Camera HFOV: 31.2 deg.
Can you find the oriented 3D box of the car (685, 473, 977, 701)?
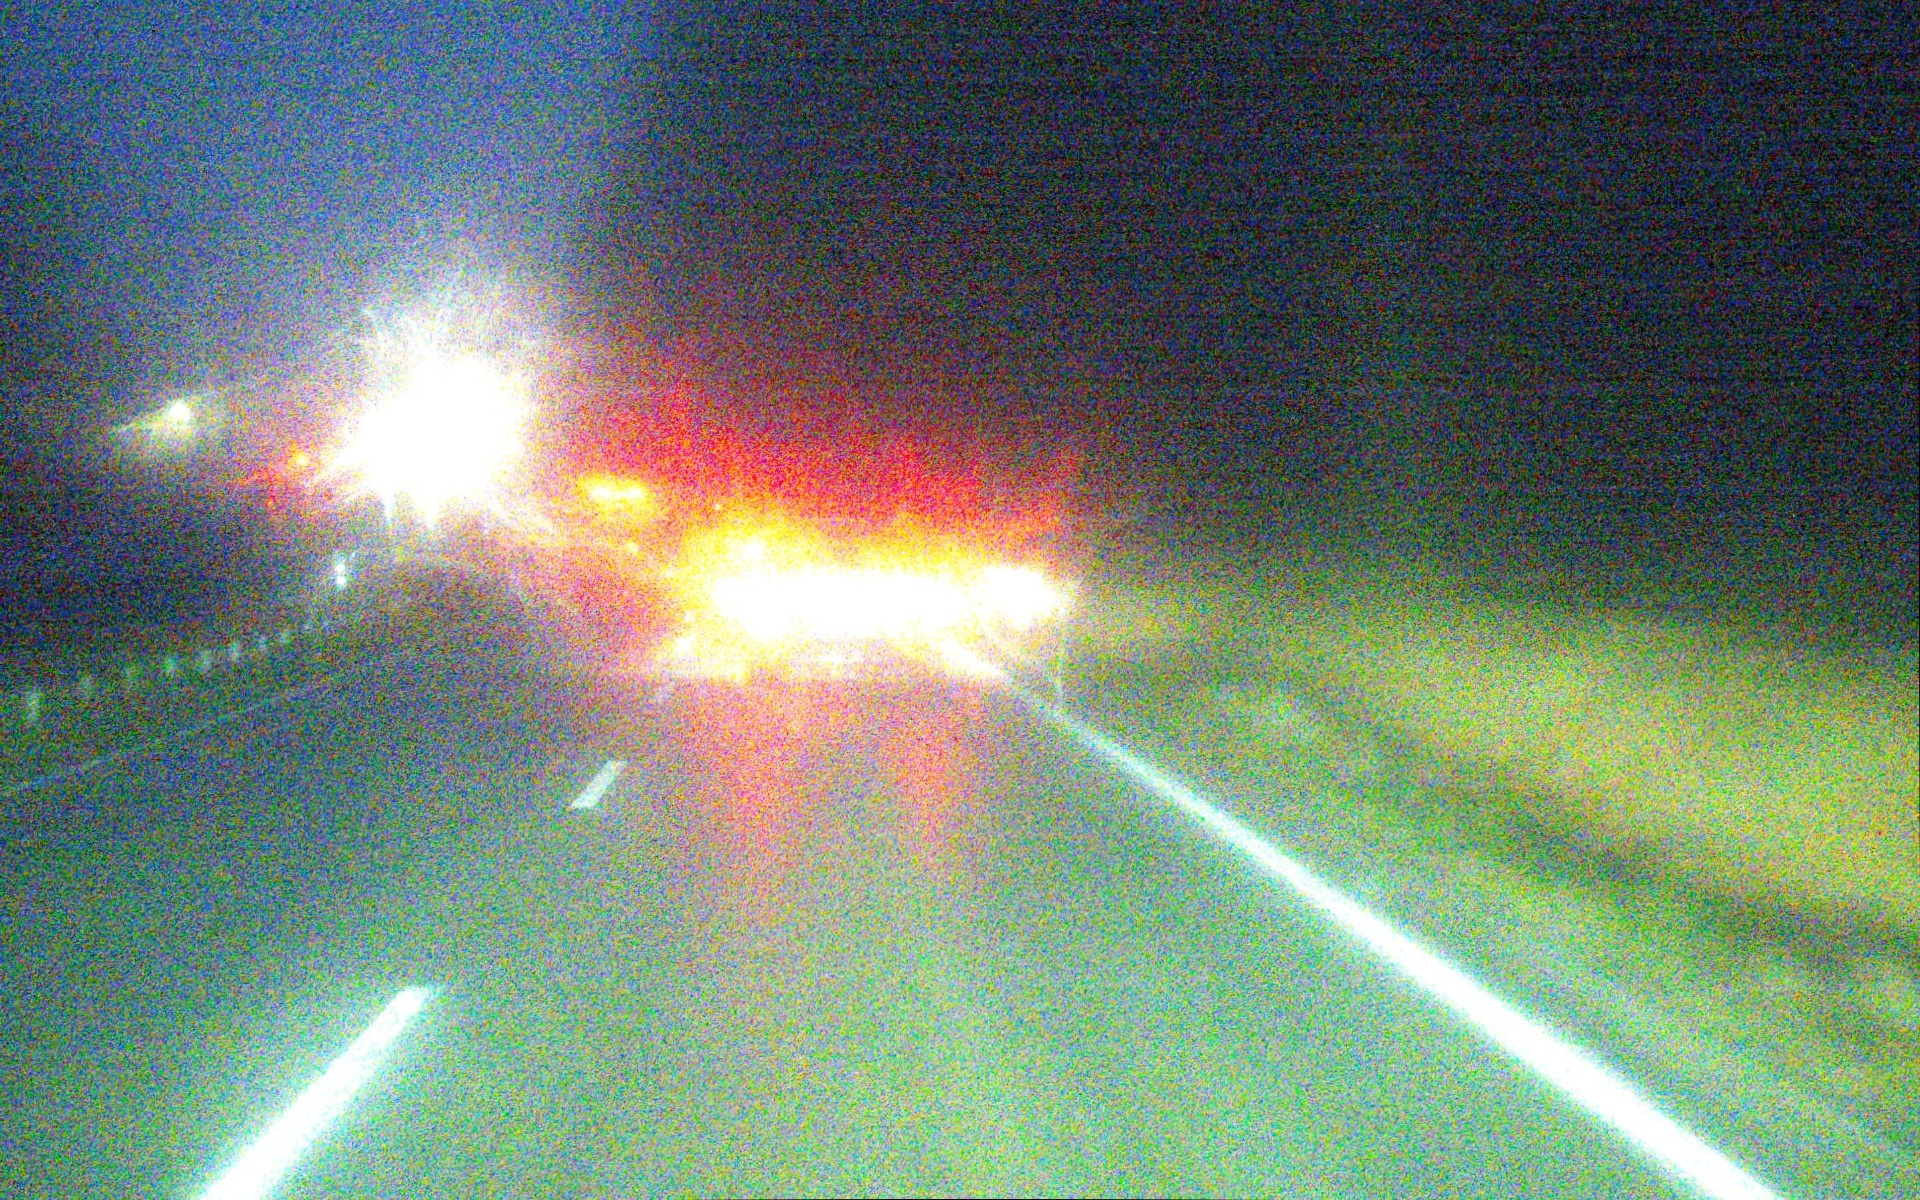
[{"bbox_3d":[-1.113,-0.153,32.362,2.458,1.952,4.912,-1,1,1],"label":"car"}]

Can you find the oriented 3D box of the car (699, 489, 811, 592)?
[{"bbox_3d":[-4.183,-1.205,69.503,1.993,2.007,4.001,-1,1,-7],"label":"car"}]
